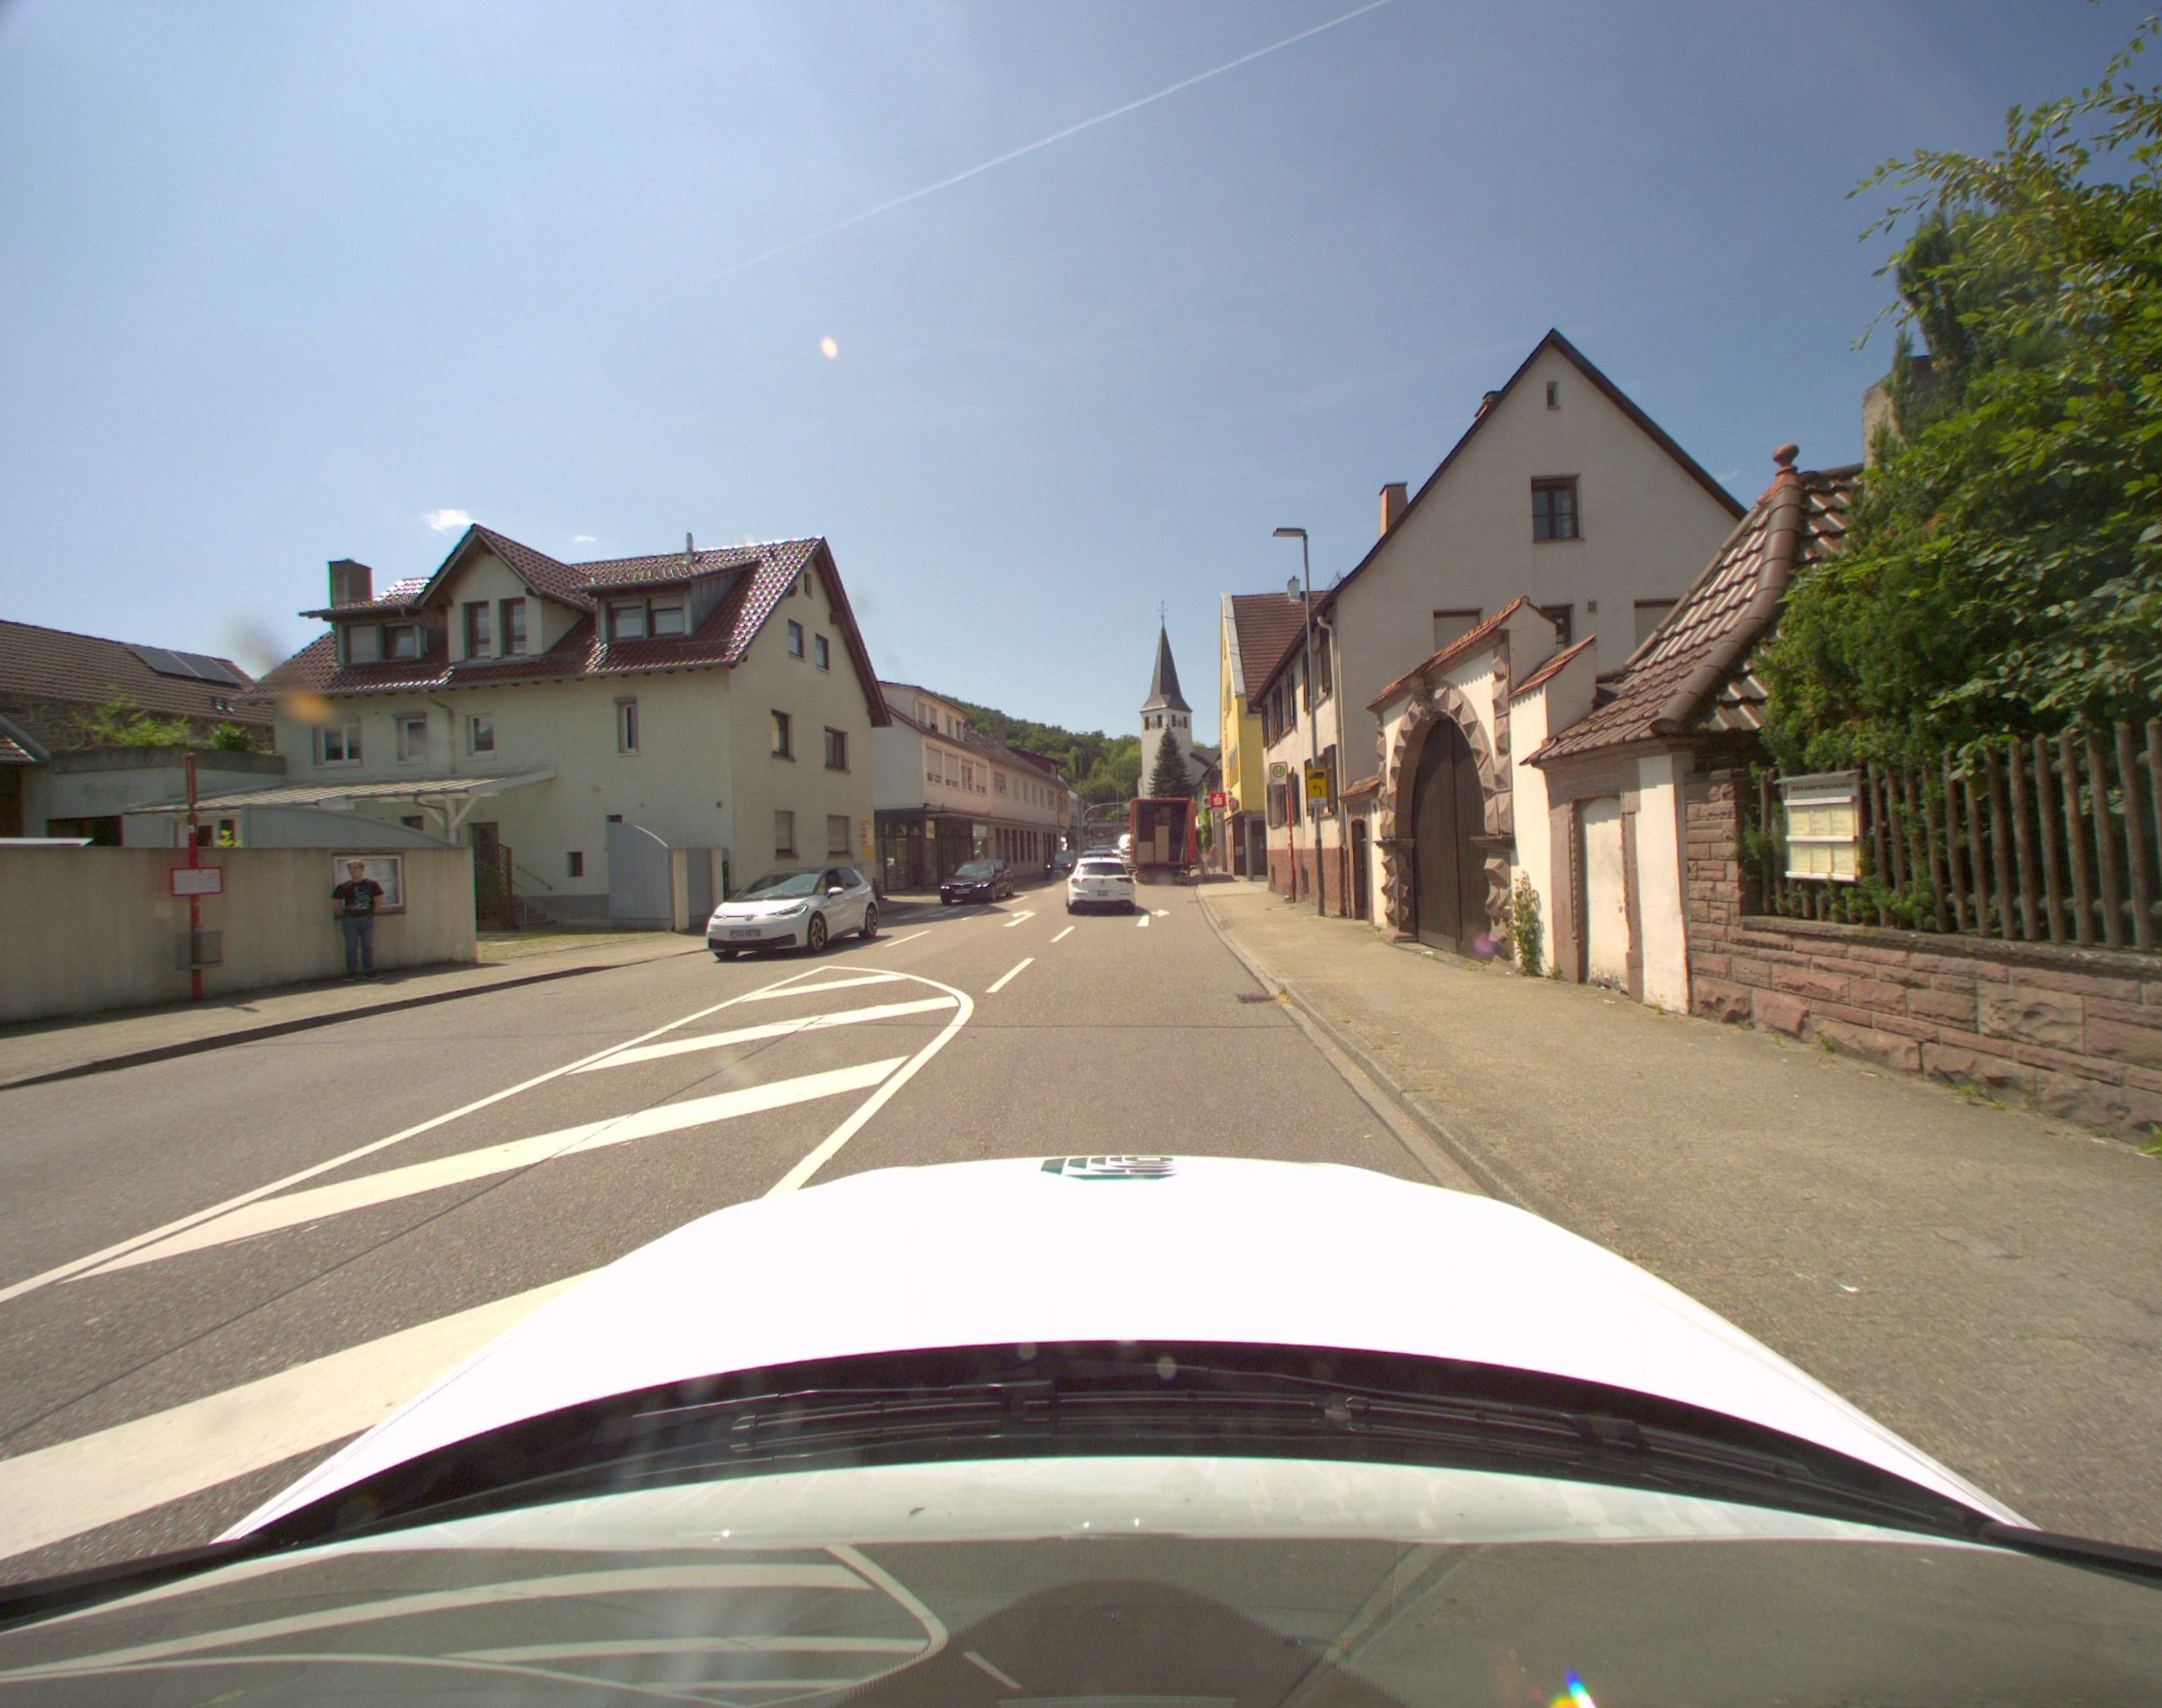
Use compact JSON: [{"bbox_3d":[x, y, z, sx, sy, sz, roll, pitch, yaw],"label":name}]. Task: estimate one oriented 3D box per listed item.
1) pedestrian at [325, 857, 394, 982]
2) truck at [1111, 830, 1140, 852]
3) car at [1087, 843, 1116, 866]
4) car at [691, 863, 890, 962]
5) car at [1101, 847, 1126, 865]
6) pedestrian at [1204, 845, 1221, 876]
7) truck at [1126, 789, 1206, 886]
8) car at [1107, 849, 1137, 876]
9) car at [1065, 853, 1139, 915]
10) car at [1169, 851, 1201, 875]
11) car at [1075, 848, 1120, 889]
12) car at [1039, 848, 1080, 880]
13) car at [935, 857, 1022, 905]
[{"bbox_3d":[-10.520,0.939,11.877,0.430,1.764,0.560,-3,0,21],"label":"pedestrian"},{"bbox_3d":[5.482,-1.590,100.375,2.101,2.474,5.762,-3,-1,17],"label":"truck"},{"bbox_3d":[1.760,0.050,68.851,1.791,1.779,4.716,-3,0,8],"label":"car"},{"bbox_3d":[-5.225,0.986,15.302,1.786,1.508,4.141,-3,-1,7],"label":"car"},{"bbox_3d":[3.332,0.246,82.097,1.982,1.651,4.009,-3,-1,8],"label":"car"},{"bbox_3d":[7.581,0.372,46.973,0.766,1.742,0.871,-3,-1,0],"label":"pedestrian"},{"bbox_3d":[4.200,-0.706,41.329,3.351,4.170,9.531,-3,-1,5],"label":"truck"},{"bbox_3d":[2.697,0.583,54.024,1.808,1.629,4.002,-3,-1,2],"label":"car"},{"bbox_3d":[0.607,0.765,22.274,1.808,1.519,4.002,-1,-1,2],"label":"car"},{"bbox_3d":[7.167,0.634,56.386,1.808,1.519,4.002,-3,-1,2],"label":"car"},{"bbox_3d":[0.764,0.618,36.117,1.808,1.629,4.002,-3,-1,2],"label":"car"},{"bbox_3d":[-1.251,0.569,48.739,1.681,1.698,4.122,-3,1,8],"label":"car"},{"bbox_3d":[-3.573,0.918,29.234,1.782,1.493,4.433,-3,-1,10],"label":"car"}]
